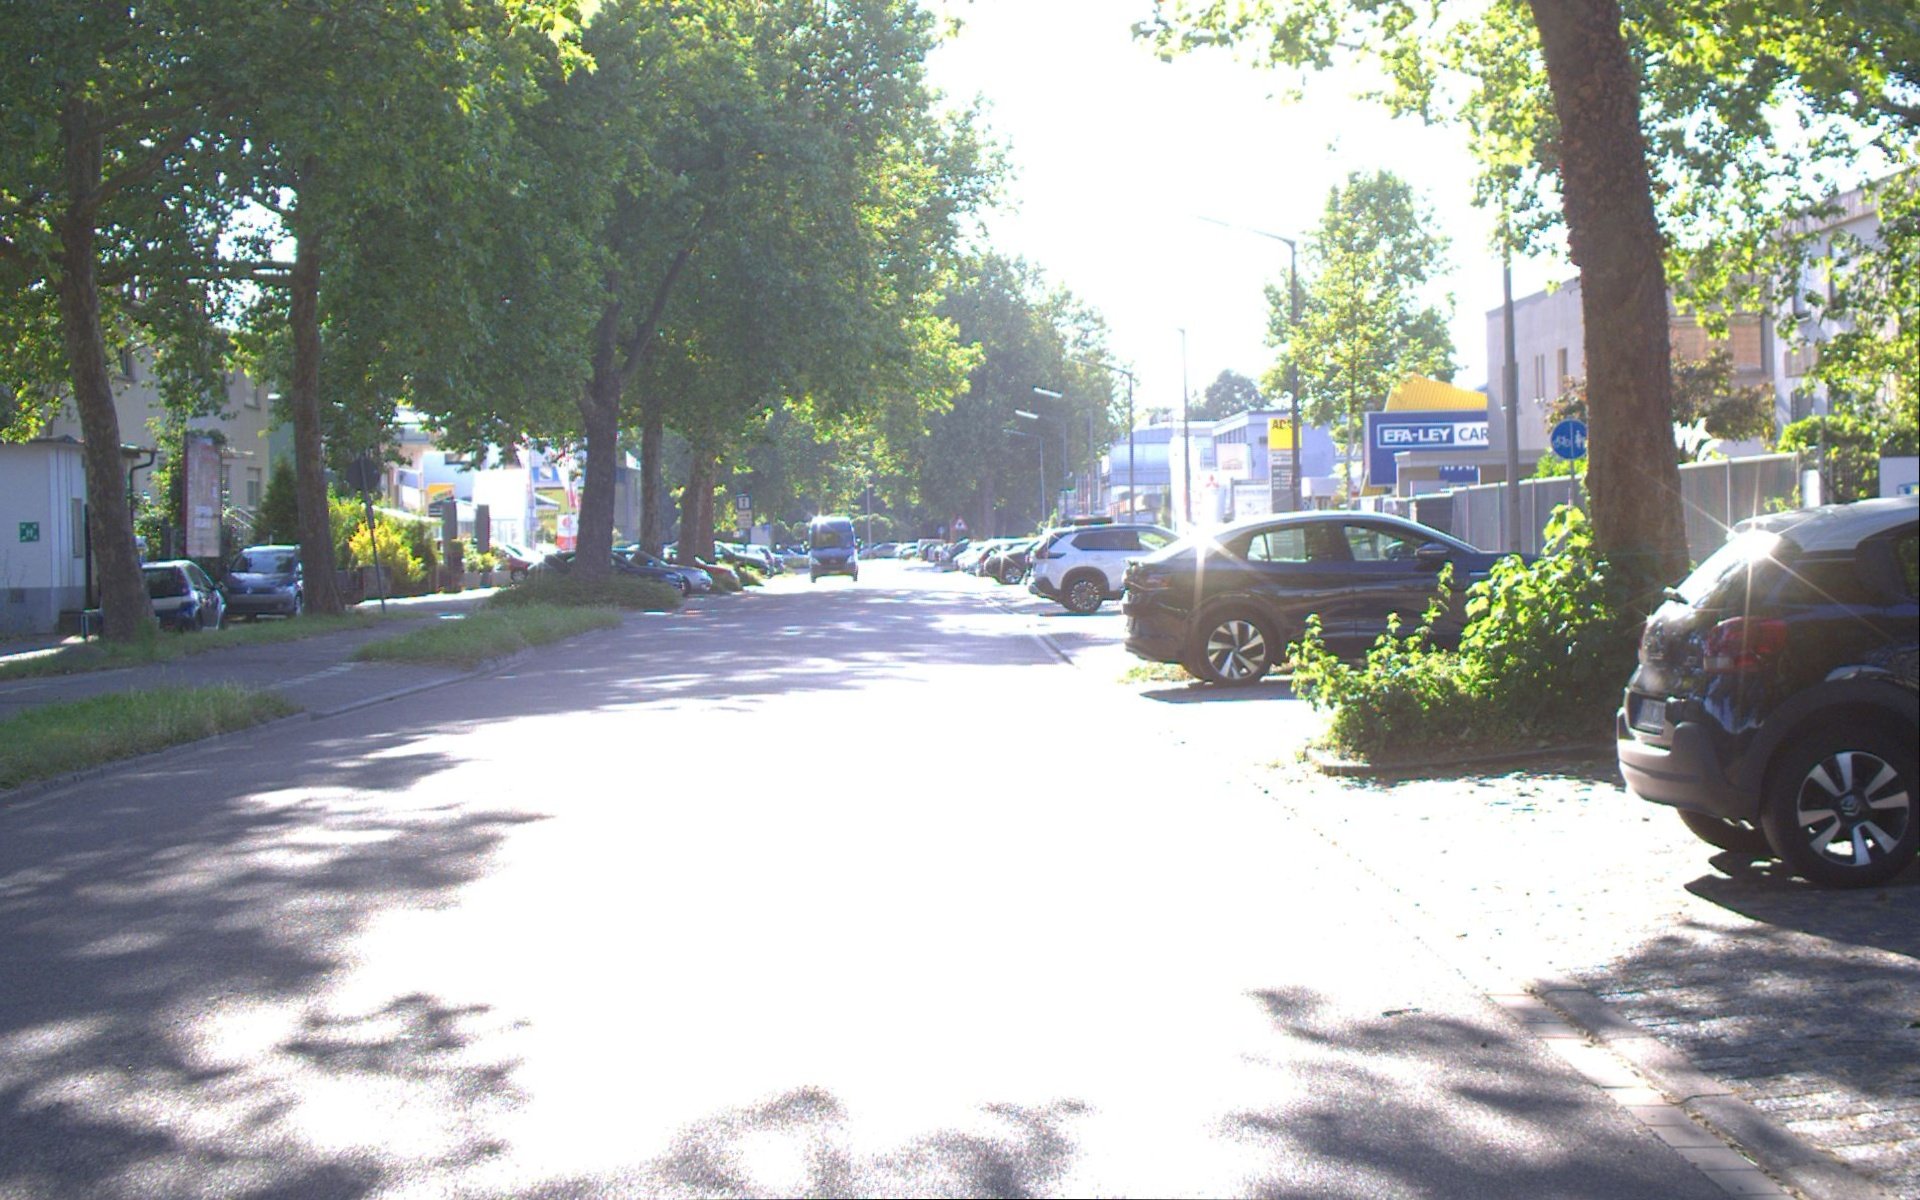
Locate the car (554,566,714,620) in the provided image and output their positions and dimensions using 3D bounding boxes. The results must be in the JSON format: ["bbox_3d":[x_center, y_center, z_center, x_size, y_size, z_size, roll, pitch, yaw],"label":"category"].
[{"bbox_3d":[-9.069,-0.213,95.821,4.353,1.417,2.000,-1,1,-3],"label":"car"}]

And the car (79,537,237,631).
[{"bbox_3d":[-13.603,-0.285,58.509,1.993,1.365,3.921,-5,1,-5],"label":"car"}]

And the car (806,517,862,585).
[{"bbox_3d":[-5.168,-2.060,141.770,2.127,2.650,7.002,-1,1,-1],"label":"car"}]

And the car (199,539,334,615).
[{"bbox_3d":[-14.878,-0.492,73.944,1.993,1.570,4.273,0,0,1],"label":"car"}]

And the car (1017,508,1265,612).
[{"bbox_3d":[3.550,-0.788,67.939,4.624,1.706,2.000,-4,0,-2],"label":"car"}]

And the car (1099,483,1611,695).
[{"bbox_3d":[3.776,-0.118,33.409,4.569,1.710,1.944,-4,1,-4],"label":"car"}]

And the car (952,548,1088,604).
[{"bbox_3d":[2.073,-0.839,120.608,4.600,1.607,2.000,-4,0,-1],"label":"car"}]

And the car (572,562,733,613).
[{"bbox_3d":[-9.074,-0.380,101.838,4.599,1.417,2.000,-1,1,-1],"label":"car"}]

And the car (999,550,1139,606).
[{"bbox_3d":[3.675,-0.734,116.345,4.601,1.574,2.000,-4,0,1],"label":"car"}]

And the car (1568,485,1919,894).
[{"bbox_3d":[4.597,0.231,13.980,3.784,1.481,1.861,-4,1,-2],"label":"car"}]
